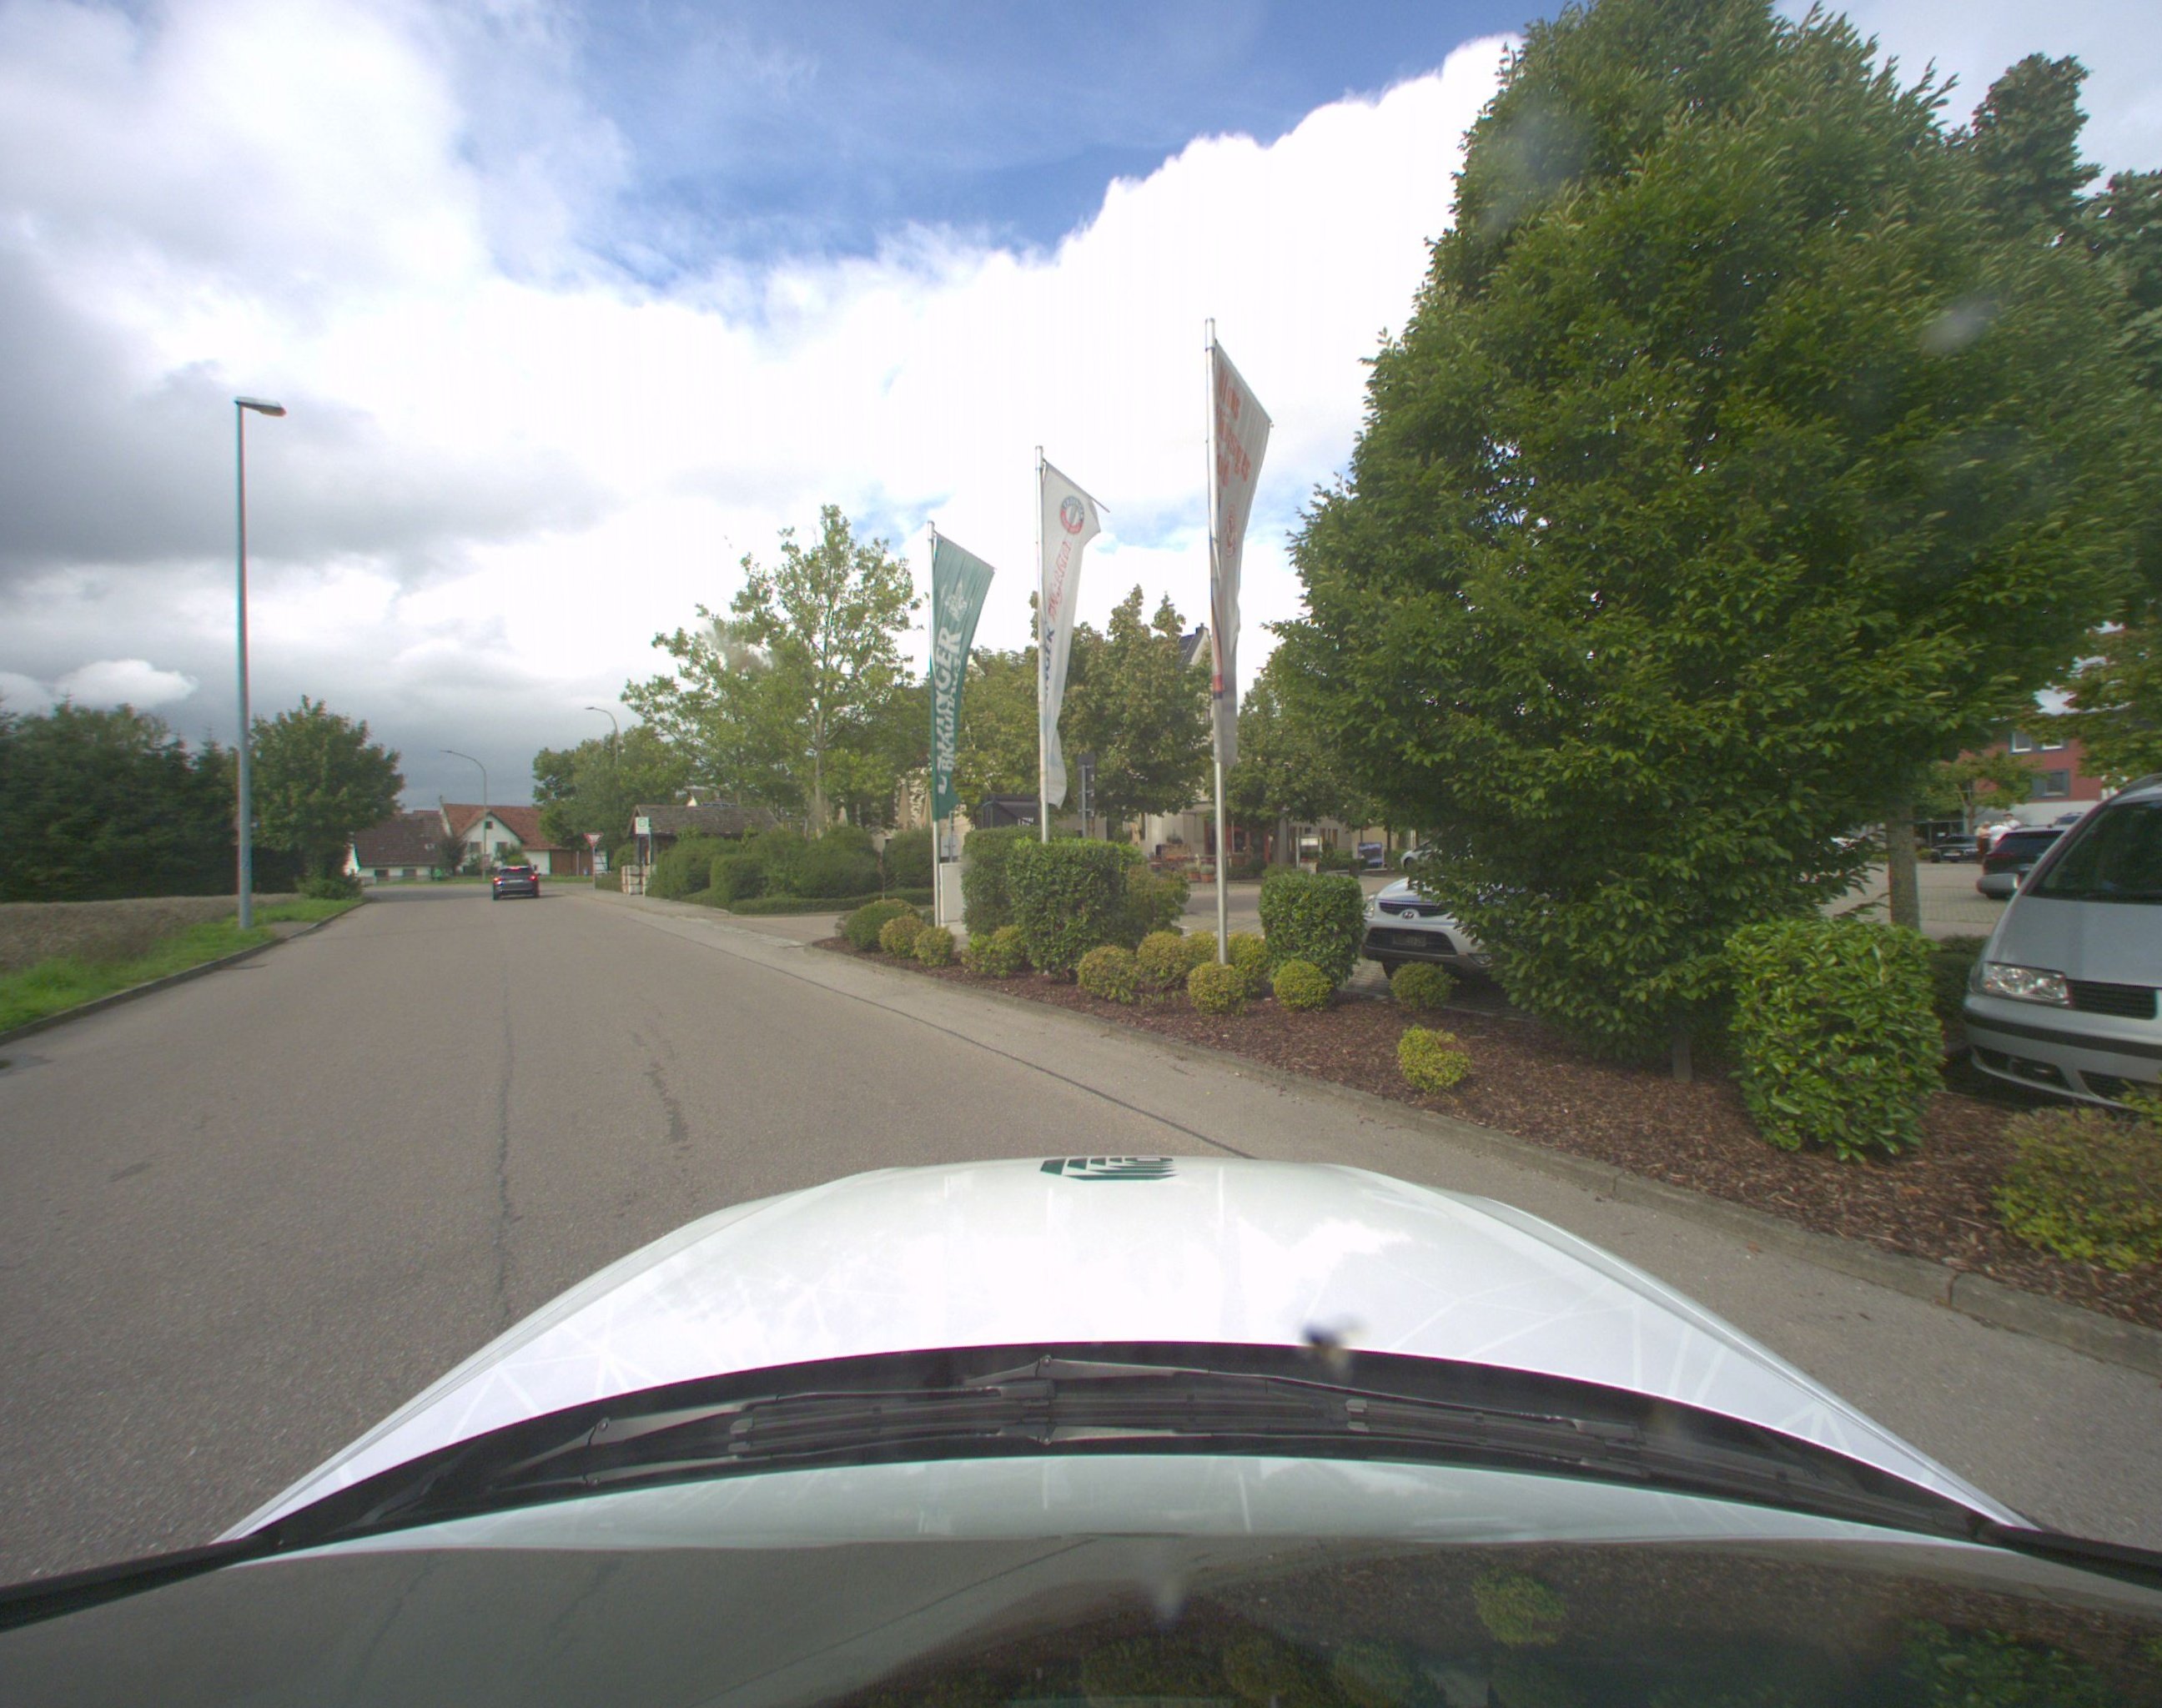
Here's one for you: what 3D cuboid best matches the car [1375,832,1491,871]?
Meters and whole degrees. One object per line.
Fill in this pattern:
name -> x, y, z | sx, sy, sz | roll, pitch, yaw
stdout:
car -> 16.570, -0.103, 38.629 | 1.755, 1.711, 5.030 | -1, 0, -30

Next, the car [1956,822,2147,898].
car -> 19.386, 0.085, 16.231 | 4.289, 1.346, 1.705 | -1, 0, -30

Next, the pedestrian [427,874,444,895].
pedestrian -> -53.834, 2.543, 67.931 | 0.704, 1.666, 0.795 | -1, -5, 20

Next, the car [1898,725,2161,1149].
car -> 6.348, 0.304, 4.233 | 4.372, 1.716, 1.643 | -1, 0, -26

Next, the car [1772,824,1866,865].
car -> 28.601, -0.383, 31.542 | 3.861, 1.500, 1.805 | -1, 0, -33

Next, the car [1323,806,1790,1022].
car -> 5.019, 0.445, 8.510 | 4.689, 1.696, 1.902 | -2, 0, -26

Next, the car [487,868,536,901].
car -> -27.366, 1.420, 39.122 | 1.812, 1.462, 3.622 | -2, 0, -35

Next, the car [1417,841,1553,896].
car -> 10.788, 0.355, 21.719 | 3.382, 1.351, 1.614 | -1, 0, -30
